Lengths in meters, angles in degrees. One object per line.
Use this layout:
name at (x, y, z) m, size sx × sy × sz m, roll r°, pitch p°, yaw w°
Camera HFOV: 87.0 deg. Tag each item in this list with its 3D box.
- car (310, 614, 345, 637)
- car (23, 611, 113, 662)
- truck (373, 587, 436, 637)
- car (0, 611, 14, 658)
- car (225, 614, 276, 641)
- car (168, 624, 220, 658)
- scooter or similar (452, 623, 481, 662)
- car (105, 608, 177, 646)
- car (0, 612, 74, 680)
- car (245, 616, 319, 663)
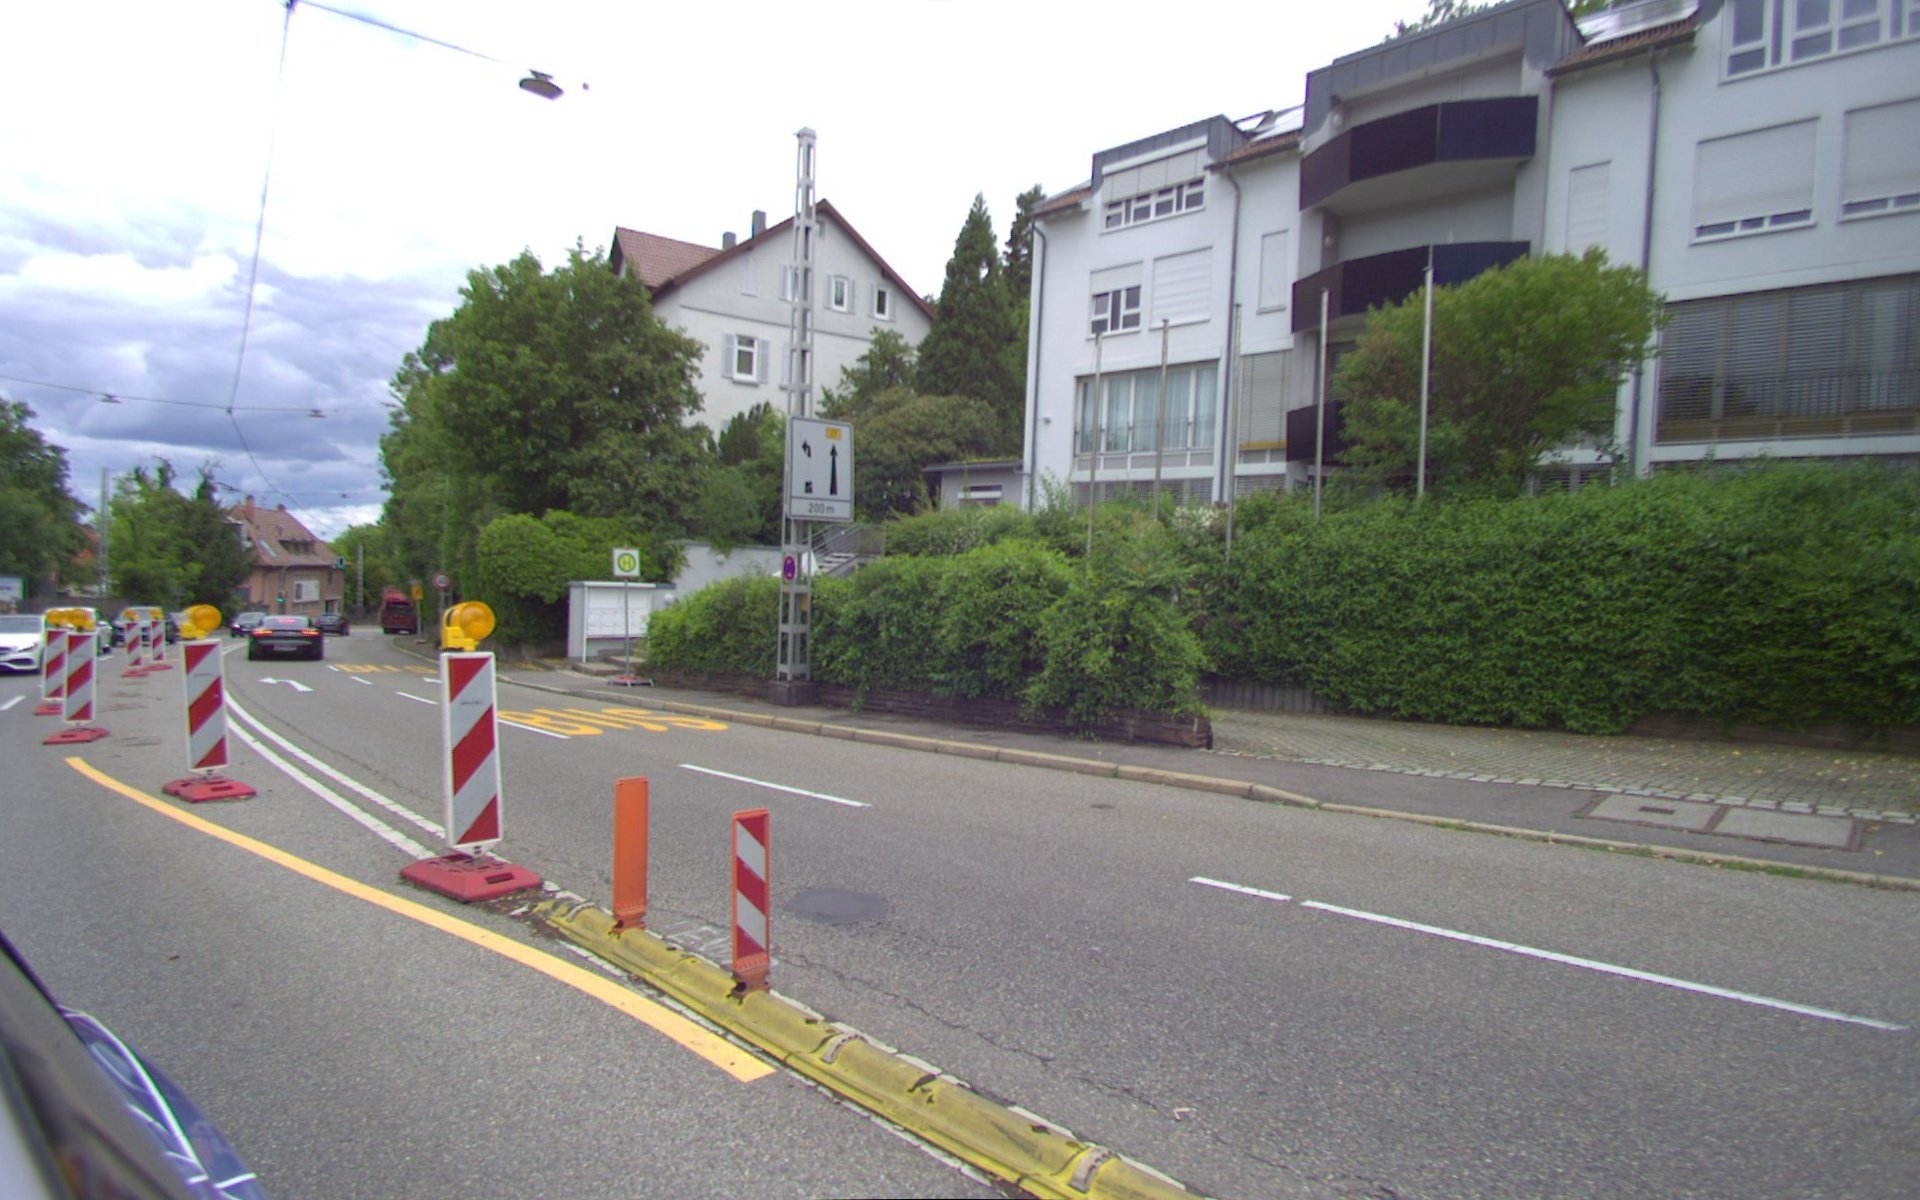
car at (-41.643, 1.670, 66.703) m, size 1.690 × 1.472 × 4.012 m, roll 2°, pitch -2°, yaw -28°
car at (-29.201, 1.167, 33.247) m, size 1.764 × 1.563 × 4.255 m, roll 0°, pitch -1°, yaw -35°
truck at (-45.829, 1.111, 83.784) m, size 2.820 × 3.726 × 9.687 m, roll 4°, pitch -3°, yaw -19°
car at (-32.041, 1.075, 32.228) m, size 1.828 × 1.545 × 4.245 m, roll 4°, pitch -3°, yaw -30°
car at (-41.649, 1.590, 59.492) m, size 1.762 × 1.492 × 4.258 m, roll 0°, pitch -1°, yaw -25°
car at (-38.514, 2.030, 50.970) m, size 1.770 × 1.522 × 4.011 m, roll 0°, pitch 0°, yaw -32°
scooter or similar at (-16.190, 1.376, 33.176) m, size 1.282 × 1.218 × 0.423 m, roll -1°, pitch 1°, yaw 44°
car at (-34.337, 1.137, 42.527) m, size 1.769 × 1.522 × 4.012 m, roll 2°, pitch -2°, yaw -31°
car at (-23.060, 1.058, 24.597) m, size 1.763 × 1.492 × 4.256 m, roll 1°, pitch -1°, yaw -34°
car at (-21.777, 1.256, 32.458) m, size 1.797 × 1.402 × 4.448 m, roll 3°, pitch -3°, yaw -35°
